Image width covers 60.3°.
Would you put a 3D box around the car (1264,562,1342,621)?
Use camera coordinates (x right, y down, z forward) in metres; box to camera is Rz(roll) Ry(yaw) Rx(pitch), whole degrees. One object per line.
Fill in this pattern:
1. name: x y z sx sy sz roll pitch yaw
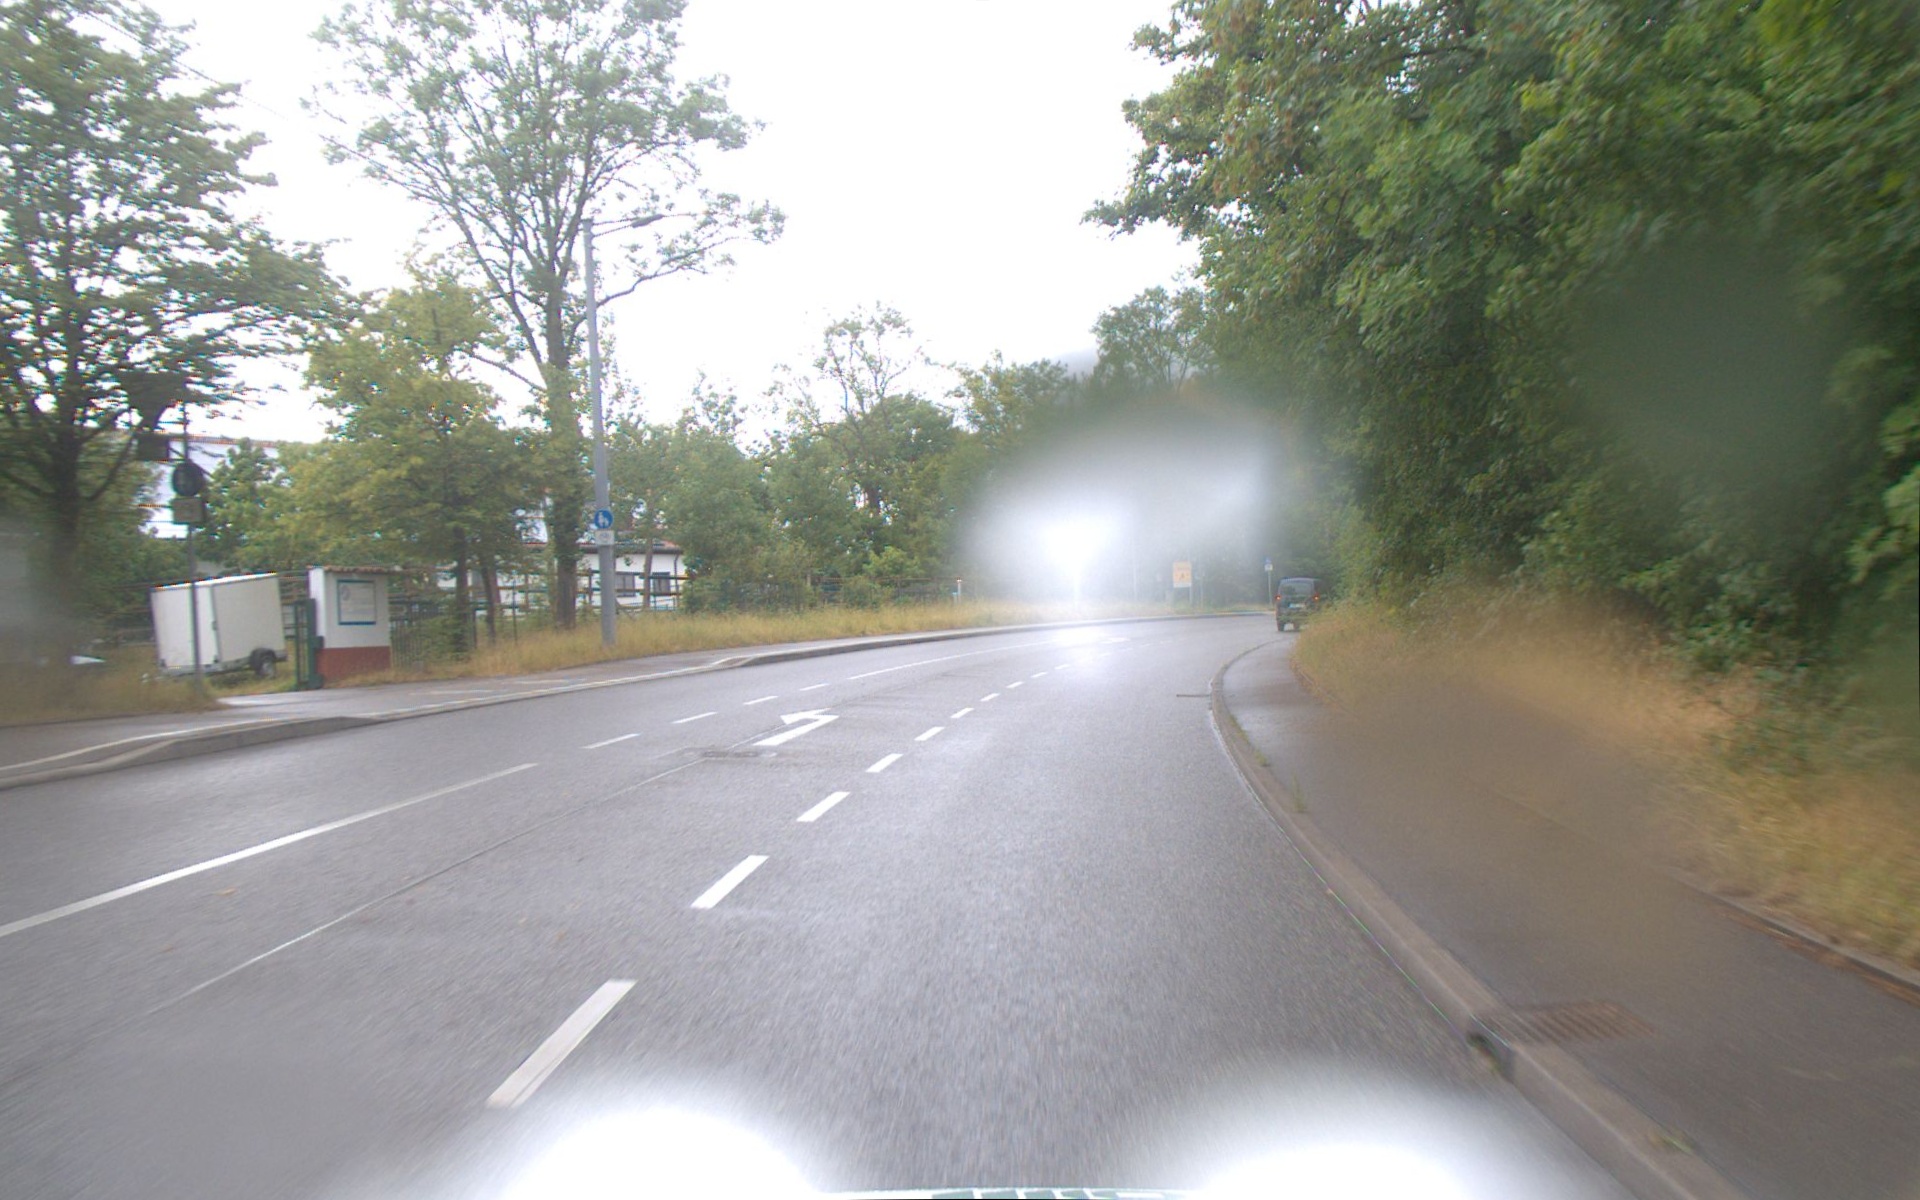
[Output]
1. car: 12.401 -0.330 59.557 1.791 1.824 3.999 -6 -1 24
